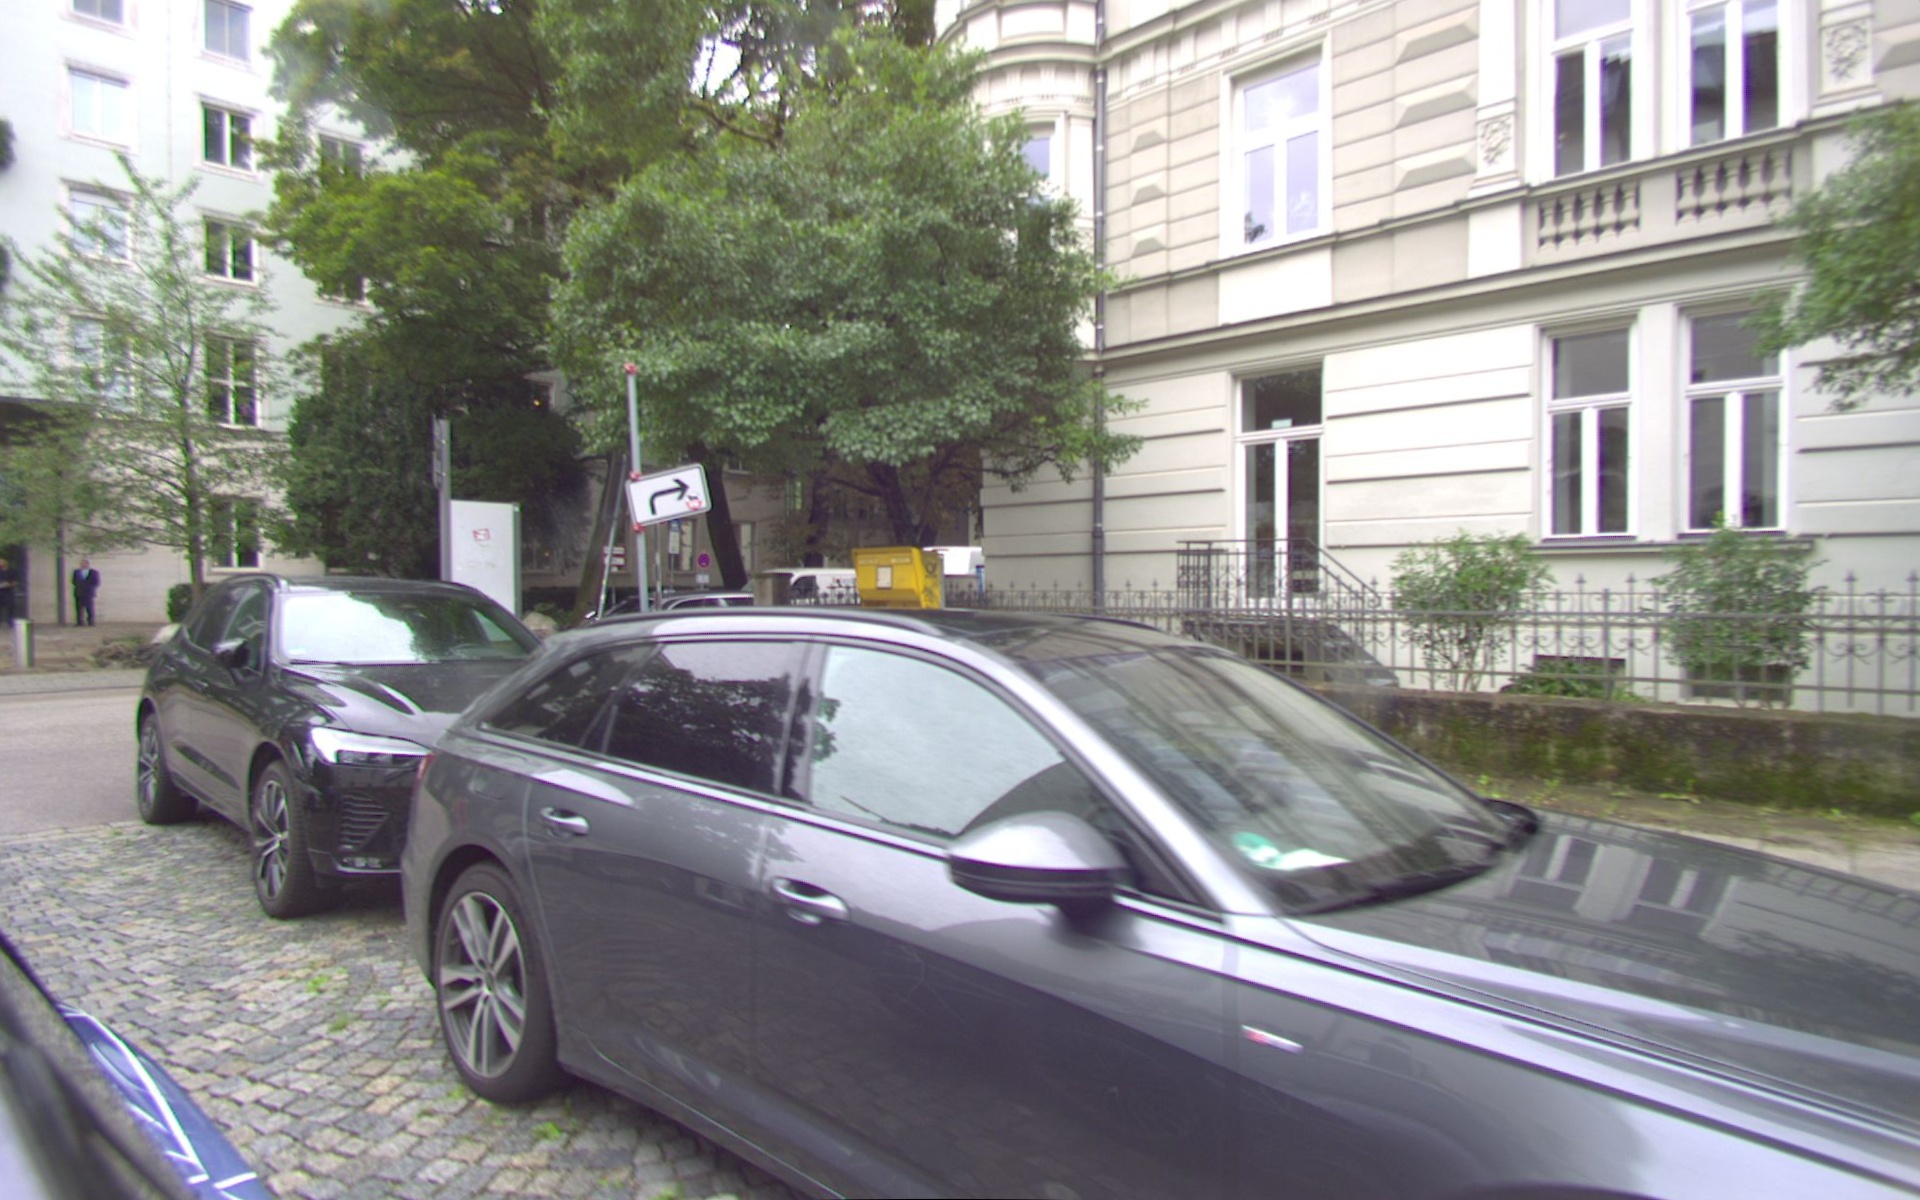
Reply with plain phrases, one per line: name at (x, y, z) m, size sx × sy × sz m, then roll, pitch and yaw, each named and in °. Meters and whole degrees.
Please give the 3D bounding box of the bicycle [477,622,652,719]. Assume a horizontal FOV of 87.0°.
bicycle at (-5.001, 0.853, 12.972) m, size 0.653 × 1.036 × 2.181 m, roll -1°, pitch 1°, yaw 28°

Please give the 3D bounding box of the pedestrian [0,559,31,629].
pedestrian at (-24.095, -0.148, 25.506) m, size 0.752 × 1.766 × 0.889 m, roll 0°, pitch -1°, yaw 39°

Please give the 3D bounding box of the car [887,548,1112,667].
car at (0.948, 0.164, 21.511) m, size 2.210 × 2.225 × 4.787 m, roll -2°, pitch -1°, yaw 42°

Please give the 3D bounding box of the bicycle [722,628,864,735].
bicycle at (-1.879, 0.853, 11.185) m, size 0.548 × 1.036 × 1.931 m, roll -2°, pitch 1°, yaw -43°

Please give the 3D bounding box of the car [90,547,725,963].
car at (-3.829, 0.658, 6.480) m, size 5.052 × 1.664 × 1.917 m, roll 0°, pitch -3°, yaw 42°

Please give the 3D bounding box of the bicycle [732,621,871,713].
bicycle at (-2.020, 0.831, 13.139) m, size 0.431 × 1.036 × 1.863 m, roll -1°, pitch 1°, yaw 45°

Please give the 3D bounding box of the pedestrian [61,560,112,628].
pedestrian at (-23.061, -0.147, 26.732) m, size 0.752 × 1.766 × 0.889 m, roll 0°, pitch -1°, yaw 39°

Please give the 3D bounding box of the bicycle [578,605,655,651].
bicycle at (-8.677, 0.688, 25.618) m, size 1.741 × 1.111 × 0.635 m, roll 0°, pitch 1°, yaw -45°

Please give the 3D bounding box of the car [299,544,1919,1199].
car at (0.164, 0.747, 2.756) m, size 5.172 × 1.516 × 1.787 m, roll -1°, pitch -2°, yaw 39°

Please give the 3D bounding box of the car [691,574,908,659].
car at (-4.014, 0.340, 26.180) m, size 2.254 × 1.971 × 5.379 m, roll 2°, pitch 1°, yaw 41°

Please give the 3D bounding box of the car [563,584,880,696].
car at (-3.779, 0.577, 16.537) m, size 4.519 × 1.558 × 2.281 m, roll 0°, pitch -1°, yaw -44°
